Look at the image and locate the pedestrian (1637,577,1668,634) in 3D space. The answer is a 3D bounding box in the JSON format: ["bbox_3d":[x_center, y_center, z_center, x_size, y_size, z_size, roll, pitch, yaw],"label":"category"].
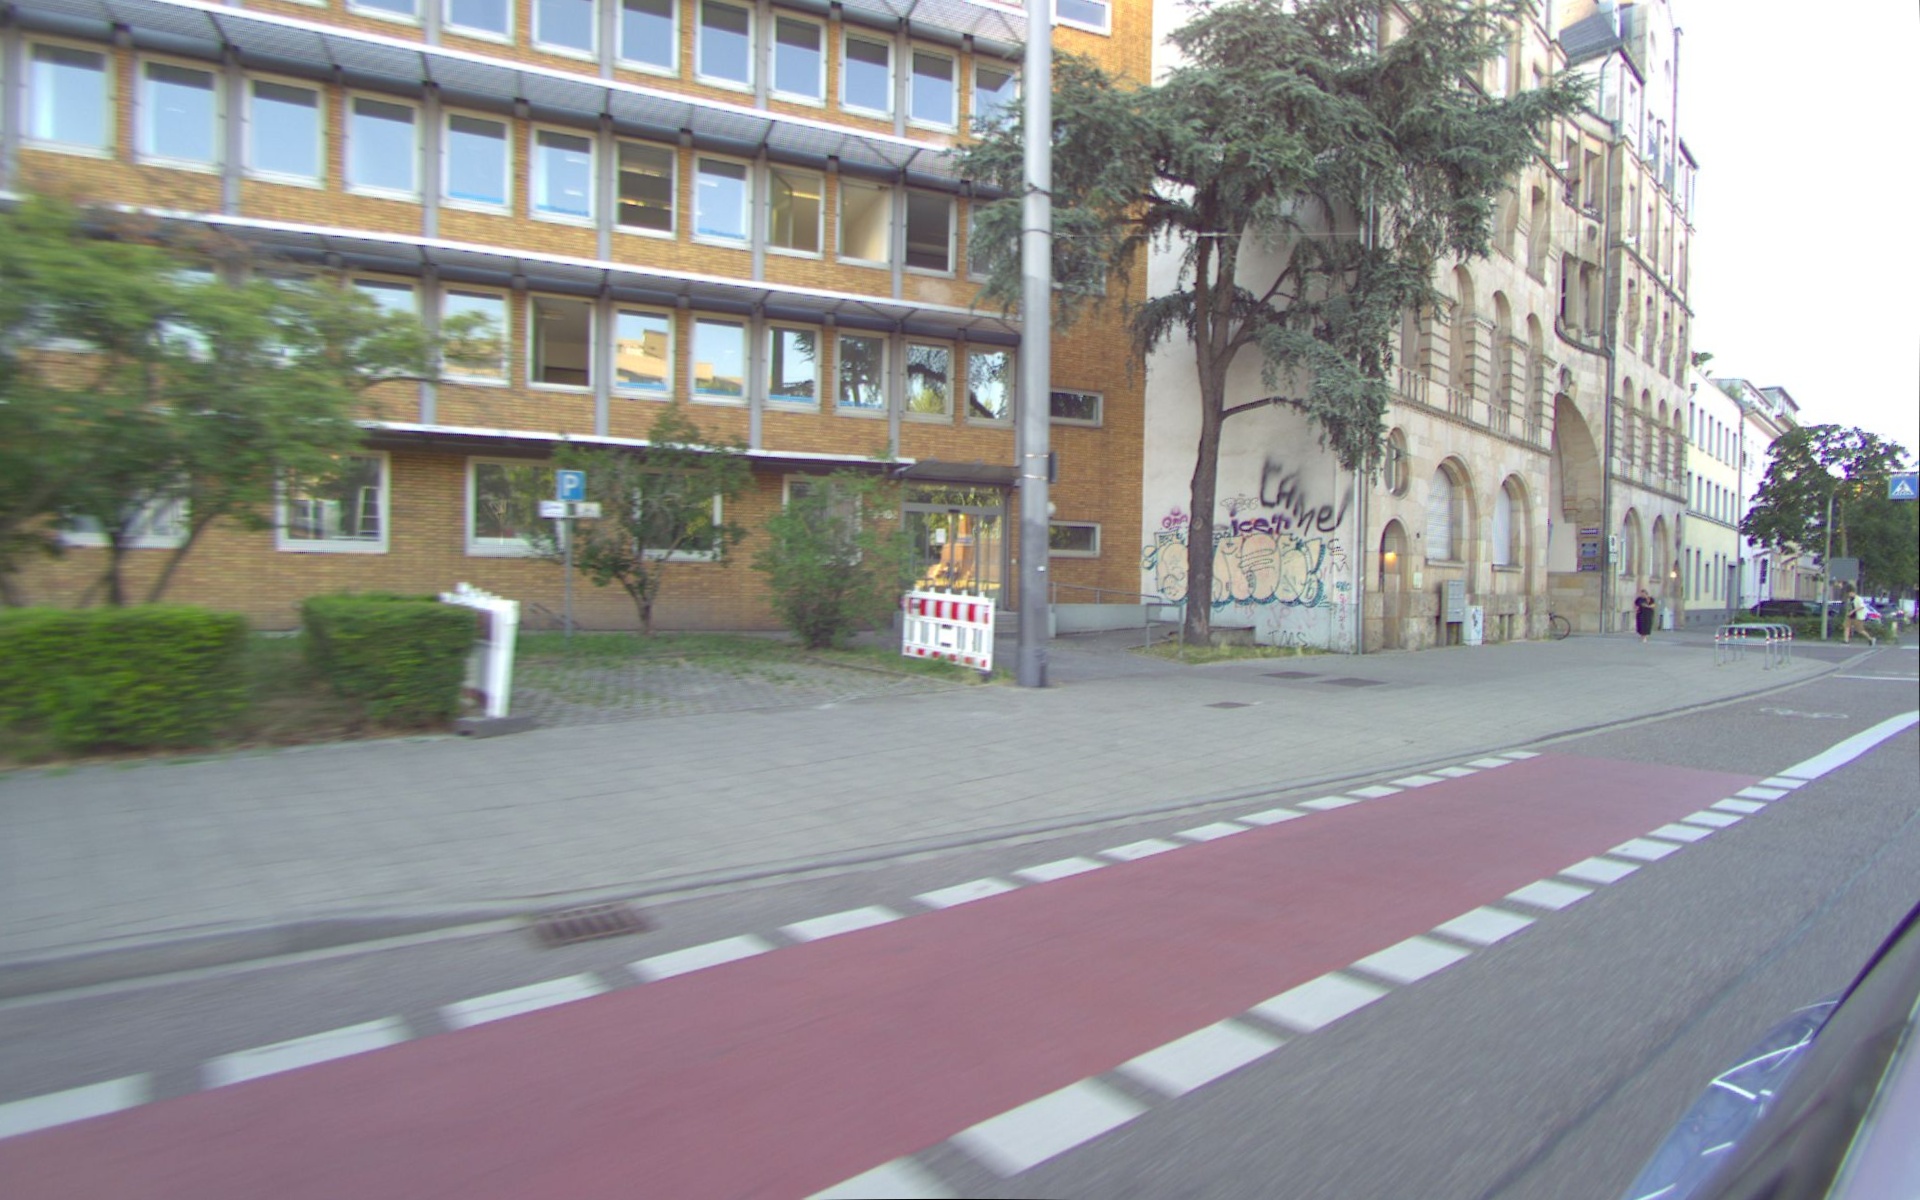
[{"bbox_3d":[21.368,0.168,31.235,0.709,1.730,0.577,2,1,-40],"label":"pedestrian"}]

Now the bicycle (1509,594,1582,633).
[{"bbox_3d":[17.725,0.391,30.671,0.422,1.086,1.851,2,1,-45],"label":"bicycle"}]

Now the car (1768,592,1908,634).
[{"bbox_3d":[38.075,0.546,43.960,1.806,1.577,4.391,1,1,-42],"label":"car"}]

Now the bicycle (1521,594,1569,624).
[{"bbox_3d":[21.072,0.316,36.483,0.354,0.998,1.438,2,1,-44],"label":"bicycle"}]

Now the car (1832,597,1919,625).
[{"bbox_3d":[58.363,0.699,64.288,1.959,1.571,4.074,2,1,-29],"label":"car"}]

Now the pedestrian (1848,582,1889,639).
[{"bbox_3d":[29.842,0.329,33.247,0.804,1.814,0.593,2,0,-12],"label":"pedestrian"}]

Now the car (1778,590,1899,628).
[{"bbox_3d":[41.304,0.419,47.648,1.805,1.589,4.062,1,1,-41],"label":"car"}]

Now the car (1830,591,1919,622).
[{"bbox_3d":[51.596,0.351,56.760,1.967,1.571,4.059,1,1,-44],"label":"car"}]

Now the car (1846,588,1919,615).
[{"bbox_3d":[64.187,0.106,69.845,1.701,1.633,4.388,1,1,-45],"label":"car"}]
